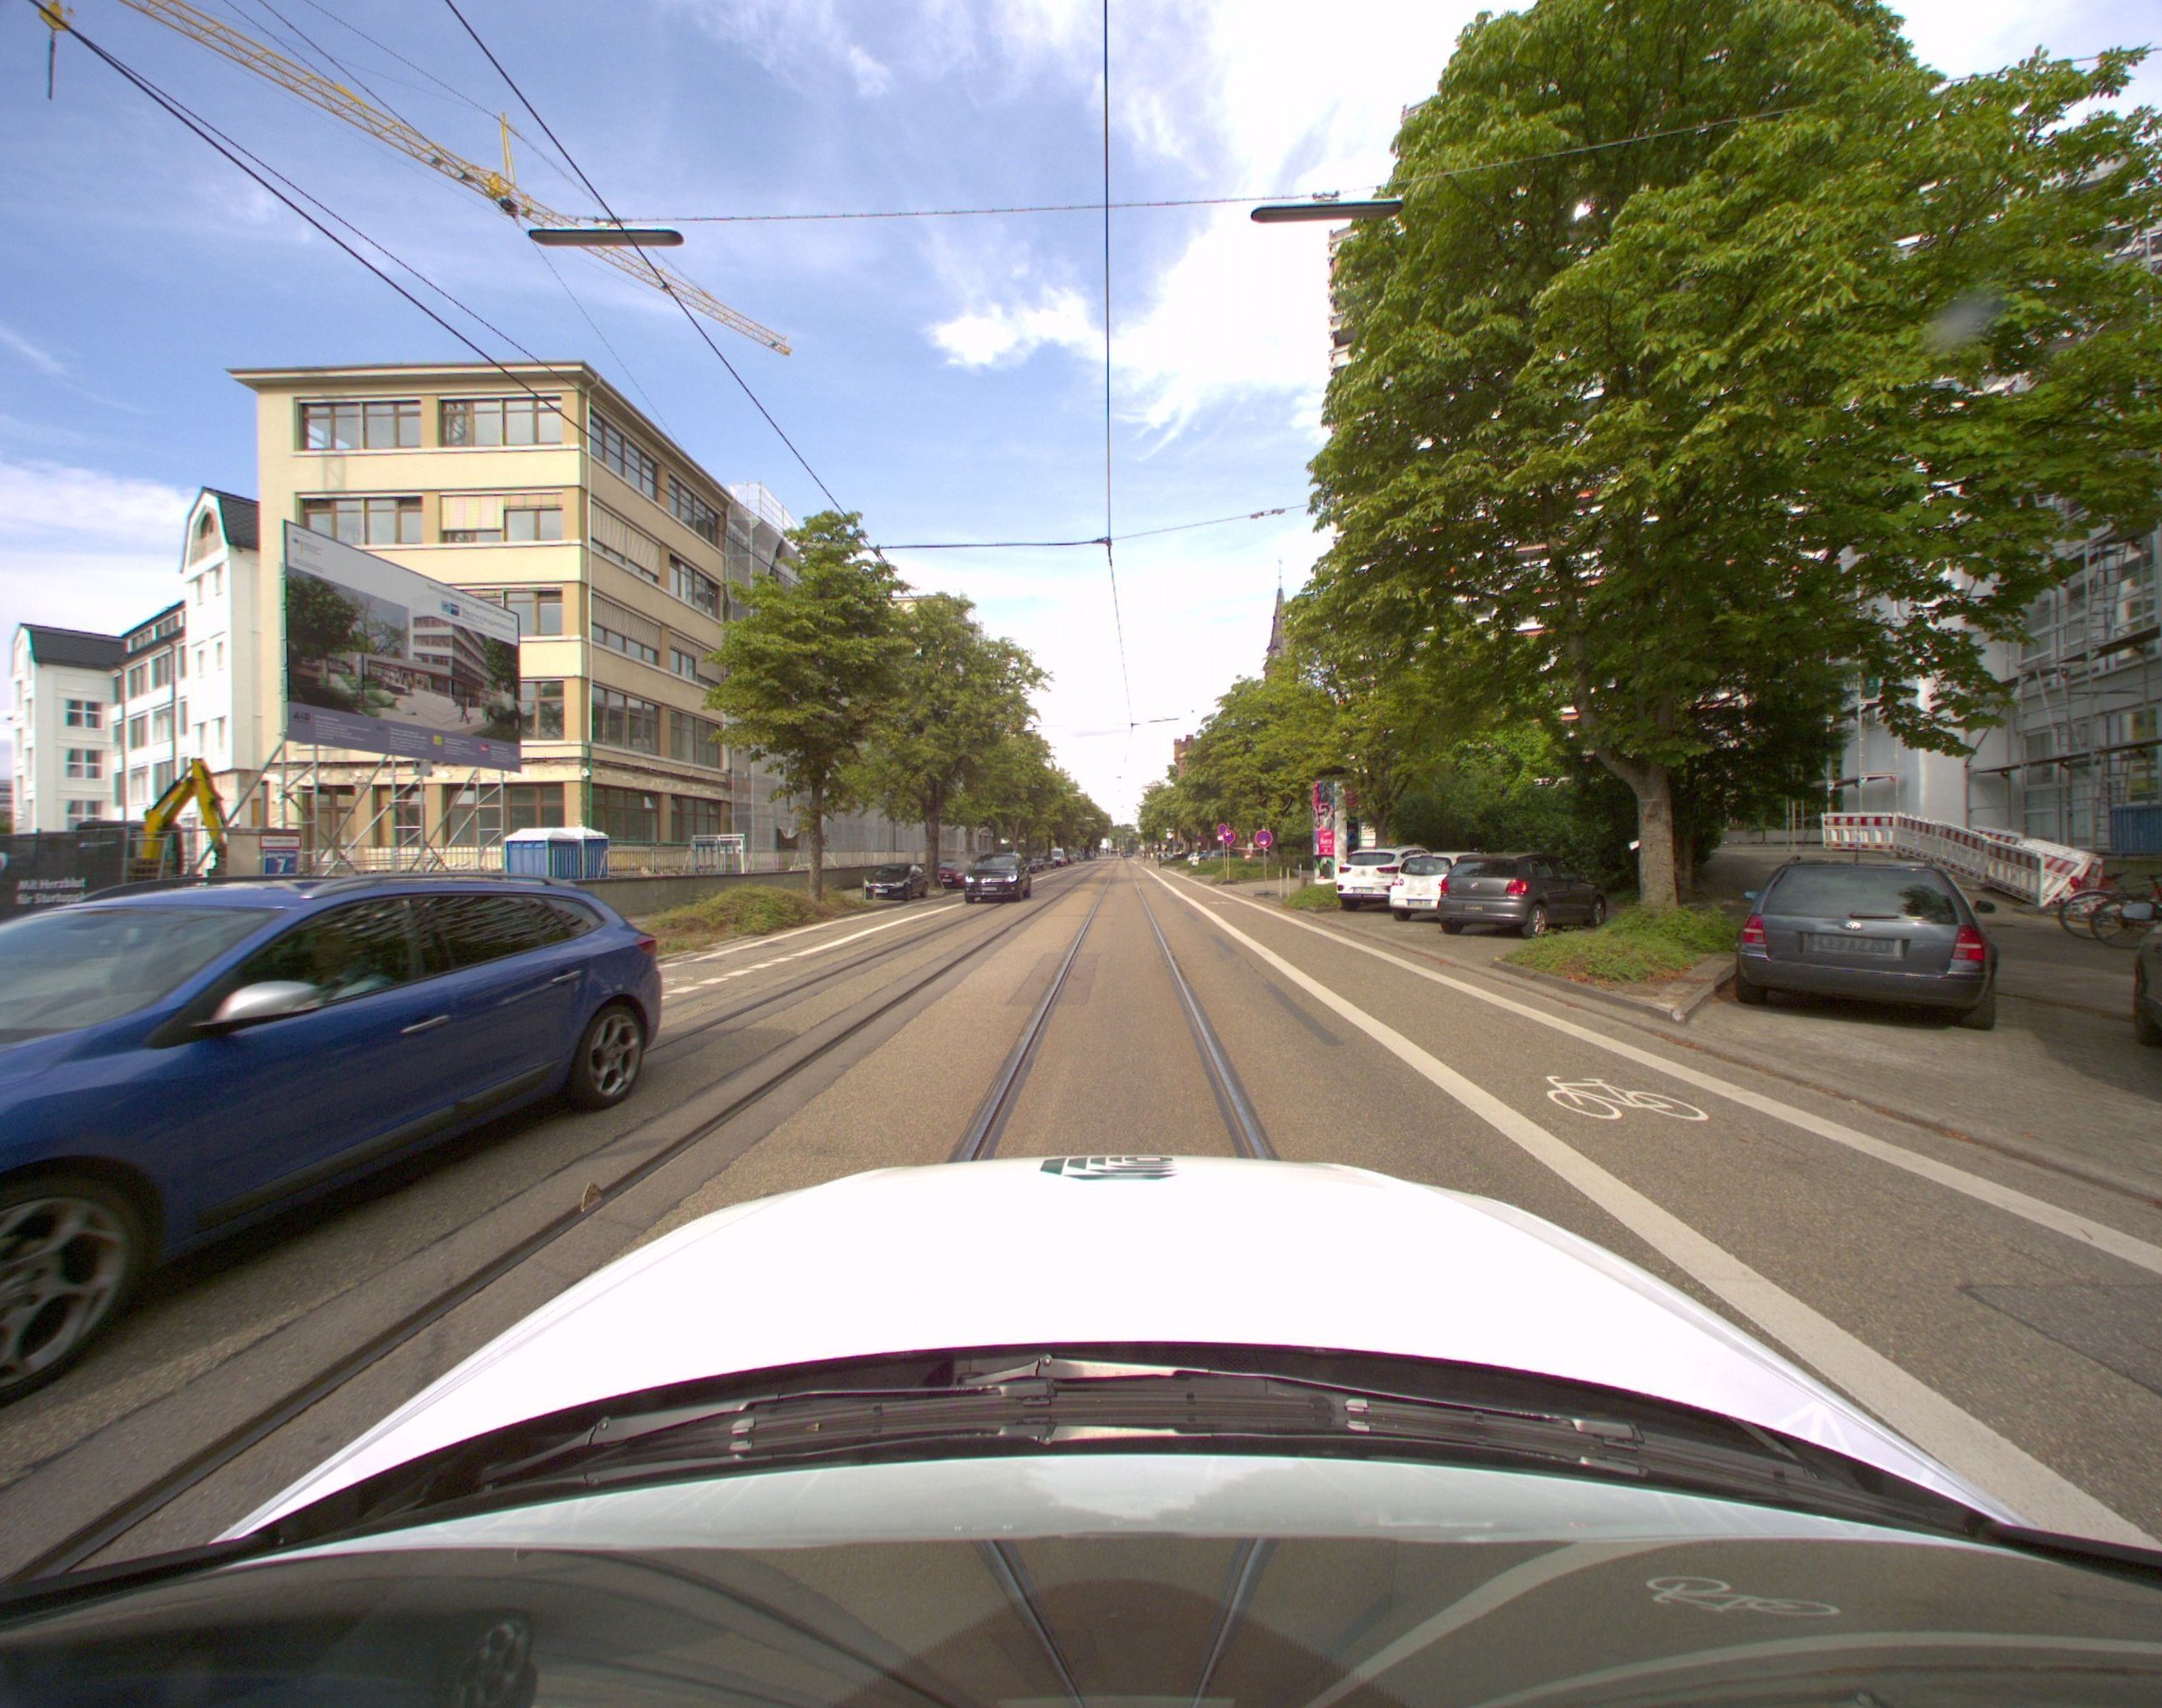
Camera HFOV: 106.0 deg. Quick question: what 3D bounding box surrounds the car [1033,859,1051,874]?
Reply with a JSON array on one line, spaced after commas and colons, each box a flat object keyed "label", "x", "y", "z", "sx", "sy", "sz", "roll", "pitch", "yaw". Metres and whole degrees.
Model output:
[{"label": "car", "x": -3.930, "y": 1.246, "z": 81.883, "sx": 1.585, "sy": 1.402, "sz": 3.963, "roll": 0, "pitch": 0, "yaw": 1}]

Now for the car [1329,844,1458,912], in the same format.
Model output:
[{"label": "car", "x": 8.148, "y": 0.576, "z": 21.072, "sx": 3.667, "sy": 1.602, "sz": 1.662, "roll": 0, "pitch": -1, "yaw": -43}]

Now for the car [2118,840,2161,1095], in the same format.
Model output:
[{"label": "car", "x": 7.892, "y": 0.672, "z": 5.072, "sx": 3.435, "sy": 1.537, "sz": 1.577, "roll": -1, "pitch": 0, "yaw": -41}]

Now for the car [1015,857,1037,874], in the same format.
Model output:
[{"label": "car", "x": -4.788, "y": 0.971, "z": 71.681, "sx": 1.585, "sy": 1.402, "sz": 3.963, "roll": 0, "pitch": 0, "yaw": 1}]

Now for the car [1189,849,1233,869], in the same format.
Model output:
[{"label": "car", "x": 10.673, "y": 0.408, "z": 66.886, "sx": 3.667, "sy": 1.602, "sz": 1.662, "roll": 0, "pitch": -1, "yaw": -43}]

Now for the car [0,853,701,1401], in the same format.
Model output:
[{"label": "car", "x": -3.782, "y": 0.769, "z": 3.830, "sx": 1.725, "sy": 1.496, "sz": 4.381, "roll": -1, "pitch": 0, "yaw": 3}]

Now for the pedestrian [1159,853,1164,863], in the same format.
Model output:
[{"label": "pedestrian", "x": 14.208, "y": 0.697, "z": 143.037, "sx": 0.741, "sy": 1.790, "sz": 0.734, "roll": -1, "pitch": -1, "yaw": 18}]

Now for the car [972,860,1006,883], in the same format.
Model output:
[{"label": "car", "x": -5.722, "y": 1.061, "z": 51.085, "sx": 1.585, "sy": 1.402, "sz": 3.963, "roll": 0, "pitch": 0, "yaw": 1}]

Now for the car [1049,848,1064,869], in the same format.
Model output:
[{"label": "car", "x": -3.141, "y": 0.563, "z": 105.433, "sx": 1.715, "sy": 2.704, "sz": 5.470, "roll": 0, "pitch": 0, "yaw": 1}]

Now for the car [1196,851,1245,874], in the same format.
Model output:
[{"label": "car", "x": 10.317, "y": 0.632, "z": 60.089, "sx": 3.667, "sy": 1.602, "sz": 1.662, "roll": 0, "pitch": -1, "yaw": -43}]

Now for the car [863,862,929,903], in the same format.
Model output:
[{"label": "car", "x": -7.015, "y": 1.042, "z": 31.236, "sx": 1.585, "sy": 1.402, "sz": 3.963, "roll": 0, "pitch": 0, "yaw": 1}]

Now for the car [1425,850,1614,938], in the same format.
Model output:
[{"label": "car", "x": 8.086, "y": 0.651, "z": 14.923, "sx": 3.663, "sy": 1.419, "sz": 1.663, "roll": 0, "pitch": -1, "yaw": -37}]

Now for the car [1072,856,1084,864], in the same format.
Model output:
[{"label": "car", "x": -0.463, "y": 0.955, "z": 130.812, "sx": 1.584, "sy": 1.402, "sz": 3.552, "roll": 0, "pitch": 0, "yaw": 3}]

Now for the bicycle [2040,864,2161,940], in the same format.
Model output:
[{"label": "bicycle", "x": 15.157, "y": 0.669, "z": 11.538, "sx": 1.952, "sy": 1.043, "sz": 0.598, "roll": -1, "pitch": 0, "yaw": 40}]

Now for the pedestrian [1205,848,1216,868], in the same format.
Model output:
[{"label": "pedestrian", "x": 11.738, "y": 0.383, "z": 73.874, "sx": 0.779, "sy": 1.826, "sz": 0.665, "roll": -1, "pitch": 0, "yaw": 23}]

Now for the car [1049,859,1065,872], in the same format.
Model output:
[{"label": "car", "x": -2.671, "y": 1.327, "z": 92.048, "sx": 1.585, "sy": 1.402, "sz": 3.963, "roll": 0, "pitch": 0, "yaw": 1}]

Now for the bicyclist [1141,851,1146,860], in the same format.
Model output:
[{"label": "bicyclist", "x": 9.876, "y": 0.210, "z": 128.798, "sx": 0.656, "sy": 1.496, "sz": 0.930, "roll": -1, "pitch": 0, "yaw": 3}]

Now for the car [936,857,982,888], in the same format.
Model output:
[{"label": "car", "x": -6.236, "y": 0.933, "z": 41.884, "sx": 1.629, "sy": 1.496, "sz": 3.964, "roll": 0, "pitch": 0, "yaw": 2}]

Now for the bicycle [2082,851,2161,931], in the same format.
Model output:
[{"label": "bicycle", "x": 14.785, "y": 0.486, "z": 10.706, "sx": 1.952, "sy": 1.043, "sz": 0.598, "roll": -1, "pitch": 0, "yaw": 30}]

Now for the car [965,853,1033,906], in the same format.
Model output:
[{"label": "car", "x": -2.761, "y": 0.807, "z": 28.299, "sx": 1.725, "sy": 1.628, "sz": 4.380, "roll": -2, "pitch": 0, "yaw": 2}]

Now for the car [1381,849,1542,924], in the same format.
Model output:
[{"label": "car", "x": 8.373, "y": 0.636, "z": 17.845, "sx": 3.663, "sy": 1.474, "sz": 1.663, "roll": 0, "pitch": -1, "yaw": -37}]

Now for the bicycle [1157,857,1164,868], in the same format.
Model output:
[{"label": "bicycle", "x": 8.033, "y": 0.869, "z": 82.461, "sx": 0.590, "sy": 1.043, "sz": 1.978, "roll": -1, "pitch": 0, "yaw": 1}]

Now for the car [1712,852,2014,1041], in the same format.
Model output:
[{"label": "car", "x": 7.906, "y": 0.710, "z": 8.260, "sx": 4.194, "sy": 1.415, "sz": 1.794, "roll": 0, "pitch": -1, "yaw": -44}]

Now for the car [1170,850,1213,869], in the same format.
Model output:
[{"label": "car", "x": 9.376, "y": 0.474, "z": 69.074, "sx": 3.667, "sy": 1.602, "sz": 1.662, "roll": 0, "pitch": -1, "yaw": -43}]

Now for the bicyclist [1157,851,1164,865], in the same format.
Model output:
[{"label": "bicyclist", "x": 8.032, "y": 0.406, "z": 82.464, "sx": 0.591, "sy": 1.459, "sz": 0.875, "roll": -1, "pitch": 0, "yaw": 0}]

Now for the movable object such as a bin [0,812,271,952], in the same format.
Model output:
[{"label": "movable object such as a bin", "x": -18.284, "y": 0.511, "z": 15.696, "sx": 3.030, "sy": 2.443, "sz": 2.506, "roll": -1, "pitch": -1, "yaw": 12}]

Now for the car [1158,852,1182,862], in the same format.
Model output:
[{"label": "car", "x": 15.654, "y": 0.476, "z": 143.178, "sx": 3.978, "sy": 1.693, "sz": 1.998, "roll": -1, "pitch": 0, "yaw": -3}]
